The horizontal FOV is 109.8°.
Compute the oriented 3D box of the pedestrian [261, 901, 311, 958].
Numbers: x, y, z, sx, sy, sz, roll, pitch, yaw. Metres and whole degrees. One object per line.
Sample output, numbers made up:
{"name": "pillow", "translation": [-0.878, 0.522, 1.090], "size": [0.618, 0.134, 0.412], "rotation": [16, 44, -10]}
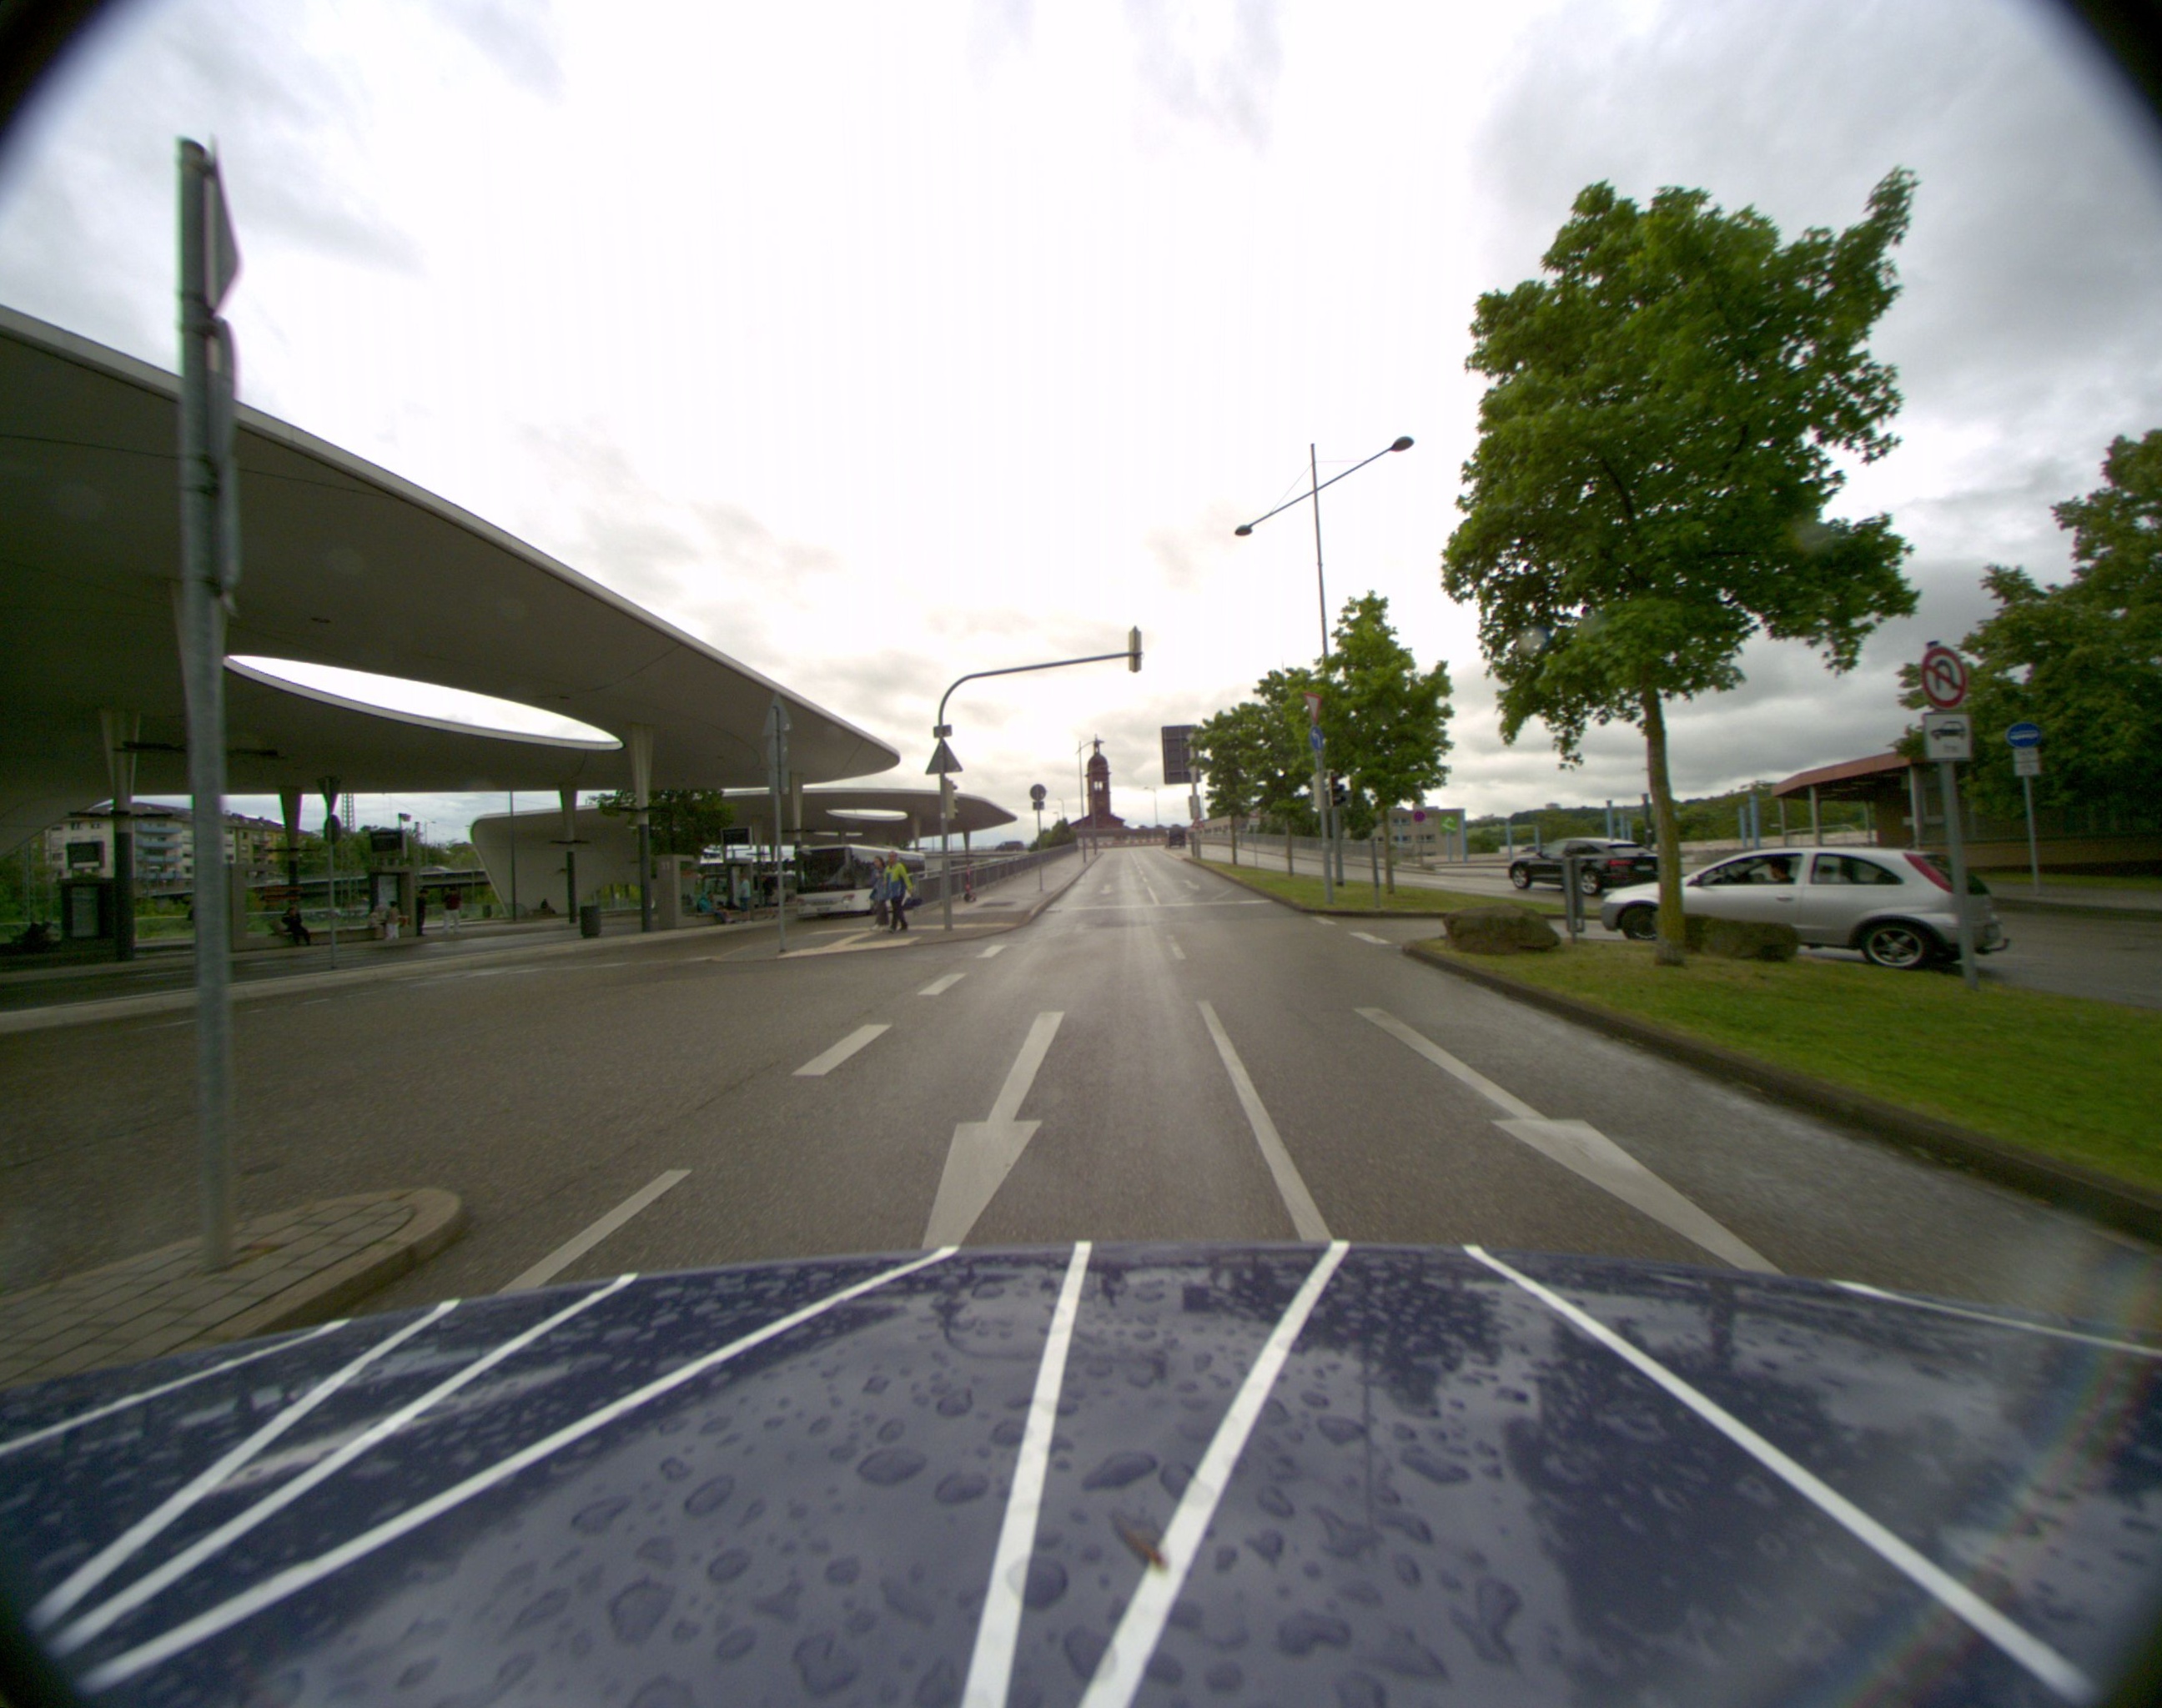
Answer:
{"name": "pedestrian", "translation": [-24.094, 2.277, 23.043], "size": [0.589, 1.581, 0.677], "rotation": [-5, 3, 0]}

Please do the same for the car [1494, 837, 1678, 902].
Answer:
{"name": "car", "translation": [15.022, 0.369, 23.002], "size": [1.914, 1.653, 4.853], "rotation": [-2, 2, -8]}

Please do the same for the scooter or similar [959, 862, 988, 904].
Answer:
{"name": "scooter or similar", "translation": [-3.225, 0.854, 22.890], "size": [0.464, 1.213, 1.860], "rotation": [-2, -1, 3]}

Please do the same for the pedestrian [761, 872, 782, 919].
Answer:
{"name": "pedestrian", "translation": [-12.463, 1.663, 30.564], "size": [0.650, 1.892, 0.585], "rotation": [2, -3, -32]}

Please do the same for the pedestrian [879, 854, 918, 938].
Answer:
{"name": "pedestrian", "translation": [-3.750, 0.846, 15.641], "size": [0.523, 1.661, 0.580], "rotation": [-3, 2, 3]}

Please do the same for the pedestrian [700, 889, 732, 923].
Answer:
{"name": "pedestrian", "translation": [-13.567, 1.920, 28.257], "size": [0.954, 1.247, 0.648], "rotation": [1, -3, -20]}

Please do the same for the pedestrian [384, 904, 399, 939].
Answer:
{"name": "pedestrian", "translation": [-23.281, 2.280, 25.655], "size": [0.364, 1.138, 0.395], "rotation": [-1, -1, -45]}

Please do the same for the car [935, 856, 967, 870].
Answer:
{"name": "car", "translation": [-21.167, 1.475, 123.888], "size": [4.682, 1.956, 2.115], "rotation": [-4, 0, 0]}

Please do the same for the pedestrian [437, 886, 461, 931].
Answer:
{"name": "pedestrian", "translation": [-23.793, 2.032, 28.612], "size": [0.644, 1.644, 0.638], "rotation": [-1, -1, -36]}

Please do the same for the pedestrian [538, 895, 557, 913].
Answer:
{"name": "pedestrian", "translation": [-42.156, 3.962, 60.068], "size": [0.800, 1.317, 0.711], "rotation": [-5, 3, 9]}

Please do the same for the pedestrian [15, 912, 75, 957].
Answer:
{"name": "pedestrian", "translation": [-33.439, 2.592, 24.543], "size": [0.710, 1.317, 0.801], "rotation": [-5, 3, 11]}

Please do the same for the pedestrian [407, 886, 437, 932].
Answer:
{"name": "pedestrian", "translation": [-23.888, 1.992, 27.547], "size": [0.570, 1.644, 0.557], "rotation": [-1, -1, 9]}

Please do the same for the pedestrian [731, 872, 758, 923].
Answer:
{"name": "pedestrian", "translation": [-12.418, 1.601, 28.075], "size": [0.585, 1.875, 0.650], "rotation": [0, -2, 14]}

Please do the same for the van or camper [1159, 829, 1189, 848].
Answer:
{"name": "van or camper", "translation": [10.218, -1.752, 83.853], "size": [2.223, 2.061, 5.279], "rotation": [-1, 2, -5]}

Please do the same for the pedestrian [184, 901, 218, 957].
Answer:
{"name": "pedestrian", "translation": [-24.454, 2.070, 21.125], "size": [0.522, 1.493, 0.381], "rotation": [-1, 0, -36]}

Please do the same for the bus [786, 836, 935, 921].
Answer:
{"name": "bus", "translation": [-10.143, 1.071, 37.013], "size": [2.851, 3.342, 12.430], "rotation": [-2, -1, 3]}

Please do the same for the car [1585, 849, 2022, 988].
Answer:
{"name": "car", "translation": [9.138, 0.683, 9.994], "size": [1.640, 1.440, 3.867], "rotation": [-1, 0, -30]}

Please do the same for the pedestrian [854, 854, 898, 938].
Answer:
{"name": "pedestrian", "translation": [-4.294, 0.868, 15.930], "size": [0.590, 1.661, 0.580], "rotation": [-4, 4, 3]}

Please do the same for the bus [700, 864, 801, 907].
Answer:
{"name": "bus", "translation": [-28.589, 2.597, 66.645], "size": [2.795, 3.238, 12.145], "rotation": [-2, -1, 3]}

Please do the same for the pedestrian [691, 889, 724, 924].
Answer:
{"name": "pedestrian", "translation": [-13.525, 1.889, 27.531], "size": [0.954, 1.247, 0.648], "rotation": [1, -3, -20]}

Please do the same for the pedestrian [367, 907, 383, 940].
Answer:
{"name": "pedestrian", "translation": [-23.592, 2.315, 25.384], "size": [0.391, 1.074, 0.353], "rotation": [-2, -1, 45]}
